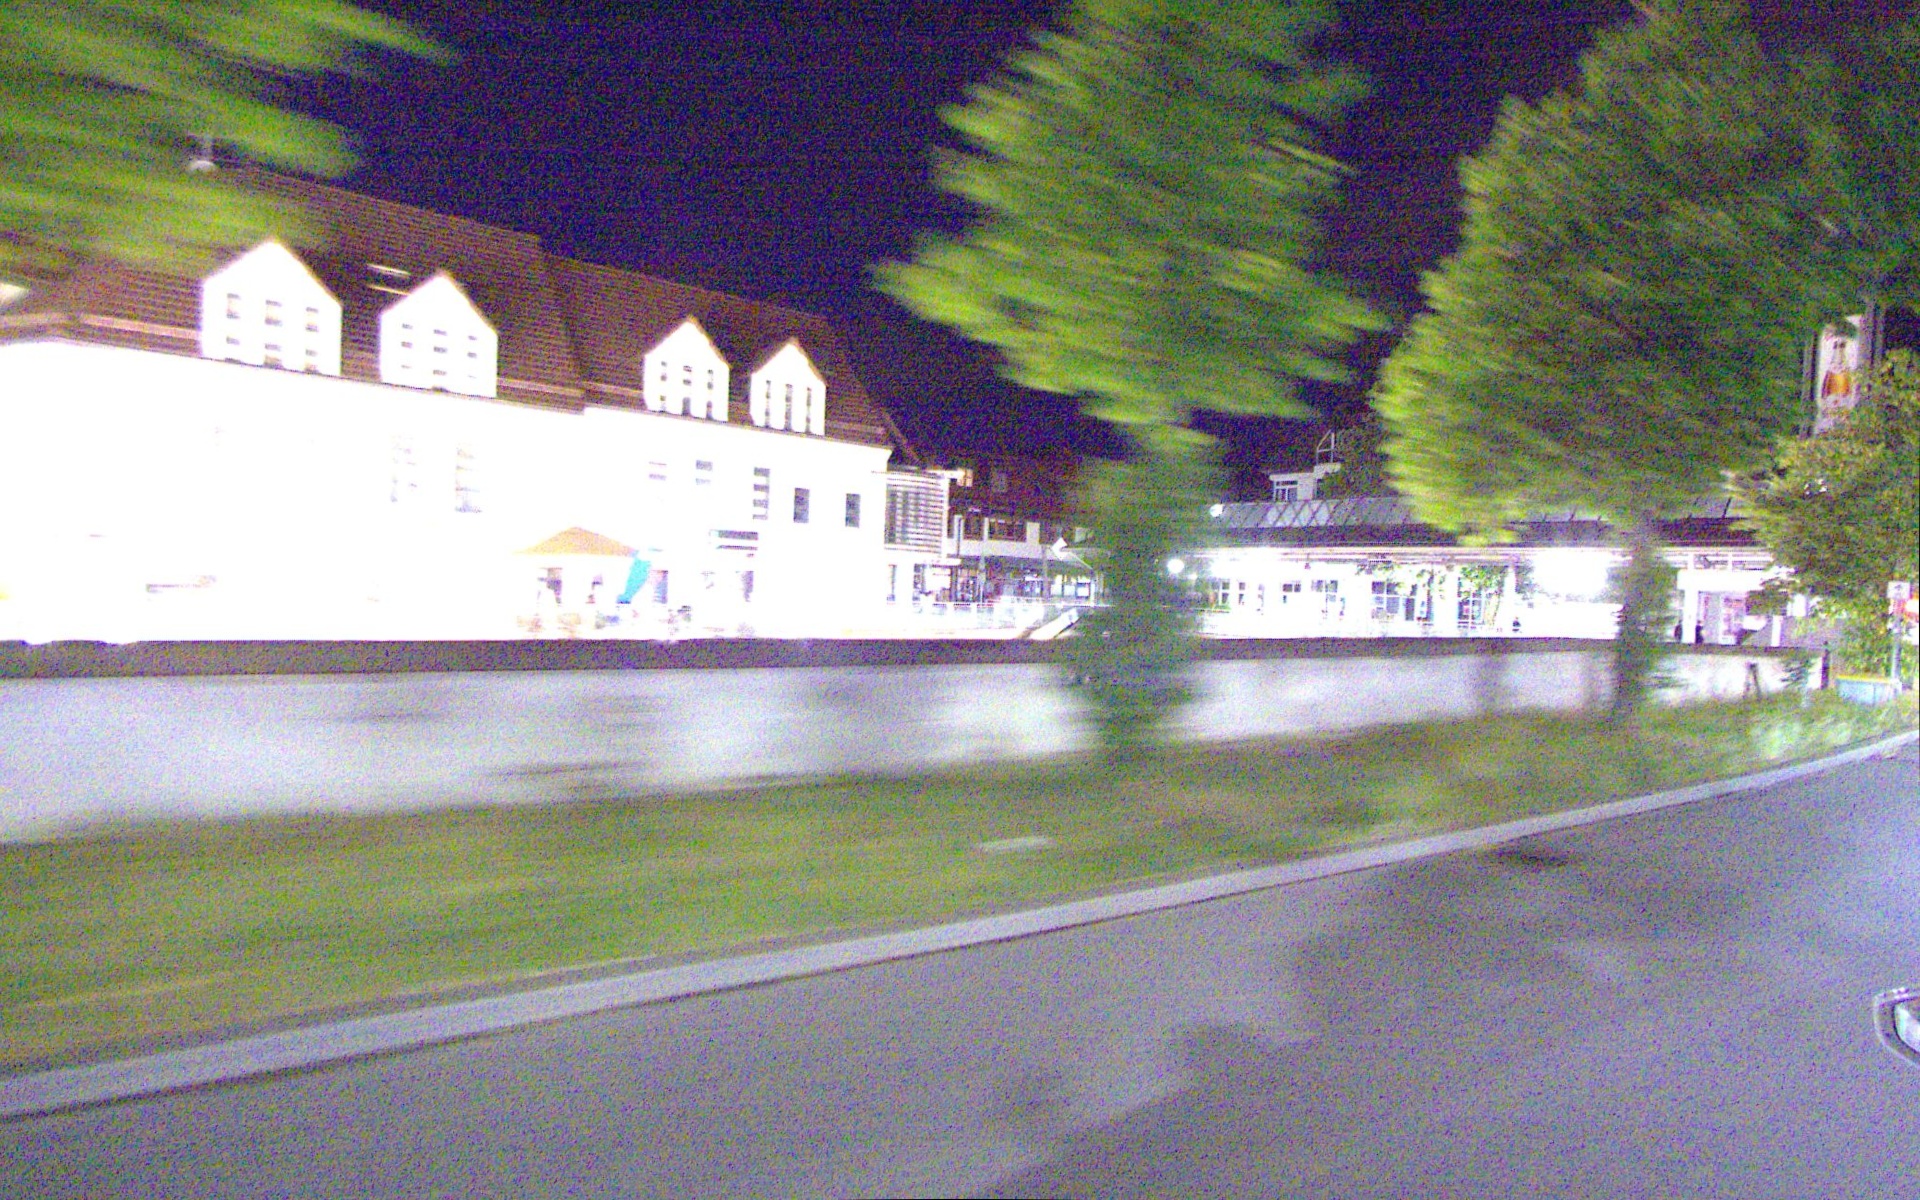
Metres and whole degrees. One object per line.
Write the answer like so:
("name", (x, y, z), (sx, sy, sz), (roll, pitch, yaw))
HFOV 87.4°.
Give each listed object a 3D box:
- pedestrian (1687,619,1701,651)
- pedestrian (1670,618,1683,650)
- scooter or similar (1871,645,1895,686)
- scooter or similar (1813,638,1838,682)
("pedestrian", (36.049, 1.702, 49.313), (0.521, 1.566, 0.509), (1, 0, 39))
("pedestrian", (35.561, 1.703, 49.833), (0.453, 1.566, 0.479), (1, 0, 42))
("scooter or similar", (27.244, 1.916, 29.636), (0.996, 1.150, 0.426), (1, 0, -42))
("scooter or similar", (26.366, 1.822, 30.595), (1.138, 1.302, 0.426), (1, 0, -42))
